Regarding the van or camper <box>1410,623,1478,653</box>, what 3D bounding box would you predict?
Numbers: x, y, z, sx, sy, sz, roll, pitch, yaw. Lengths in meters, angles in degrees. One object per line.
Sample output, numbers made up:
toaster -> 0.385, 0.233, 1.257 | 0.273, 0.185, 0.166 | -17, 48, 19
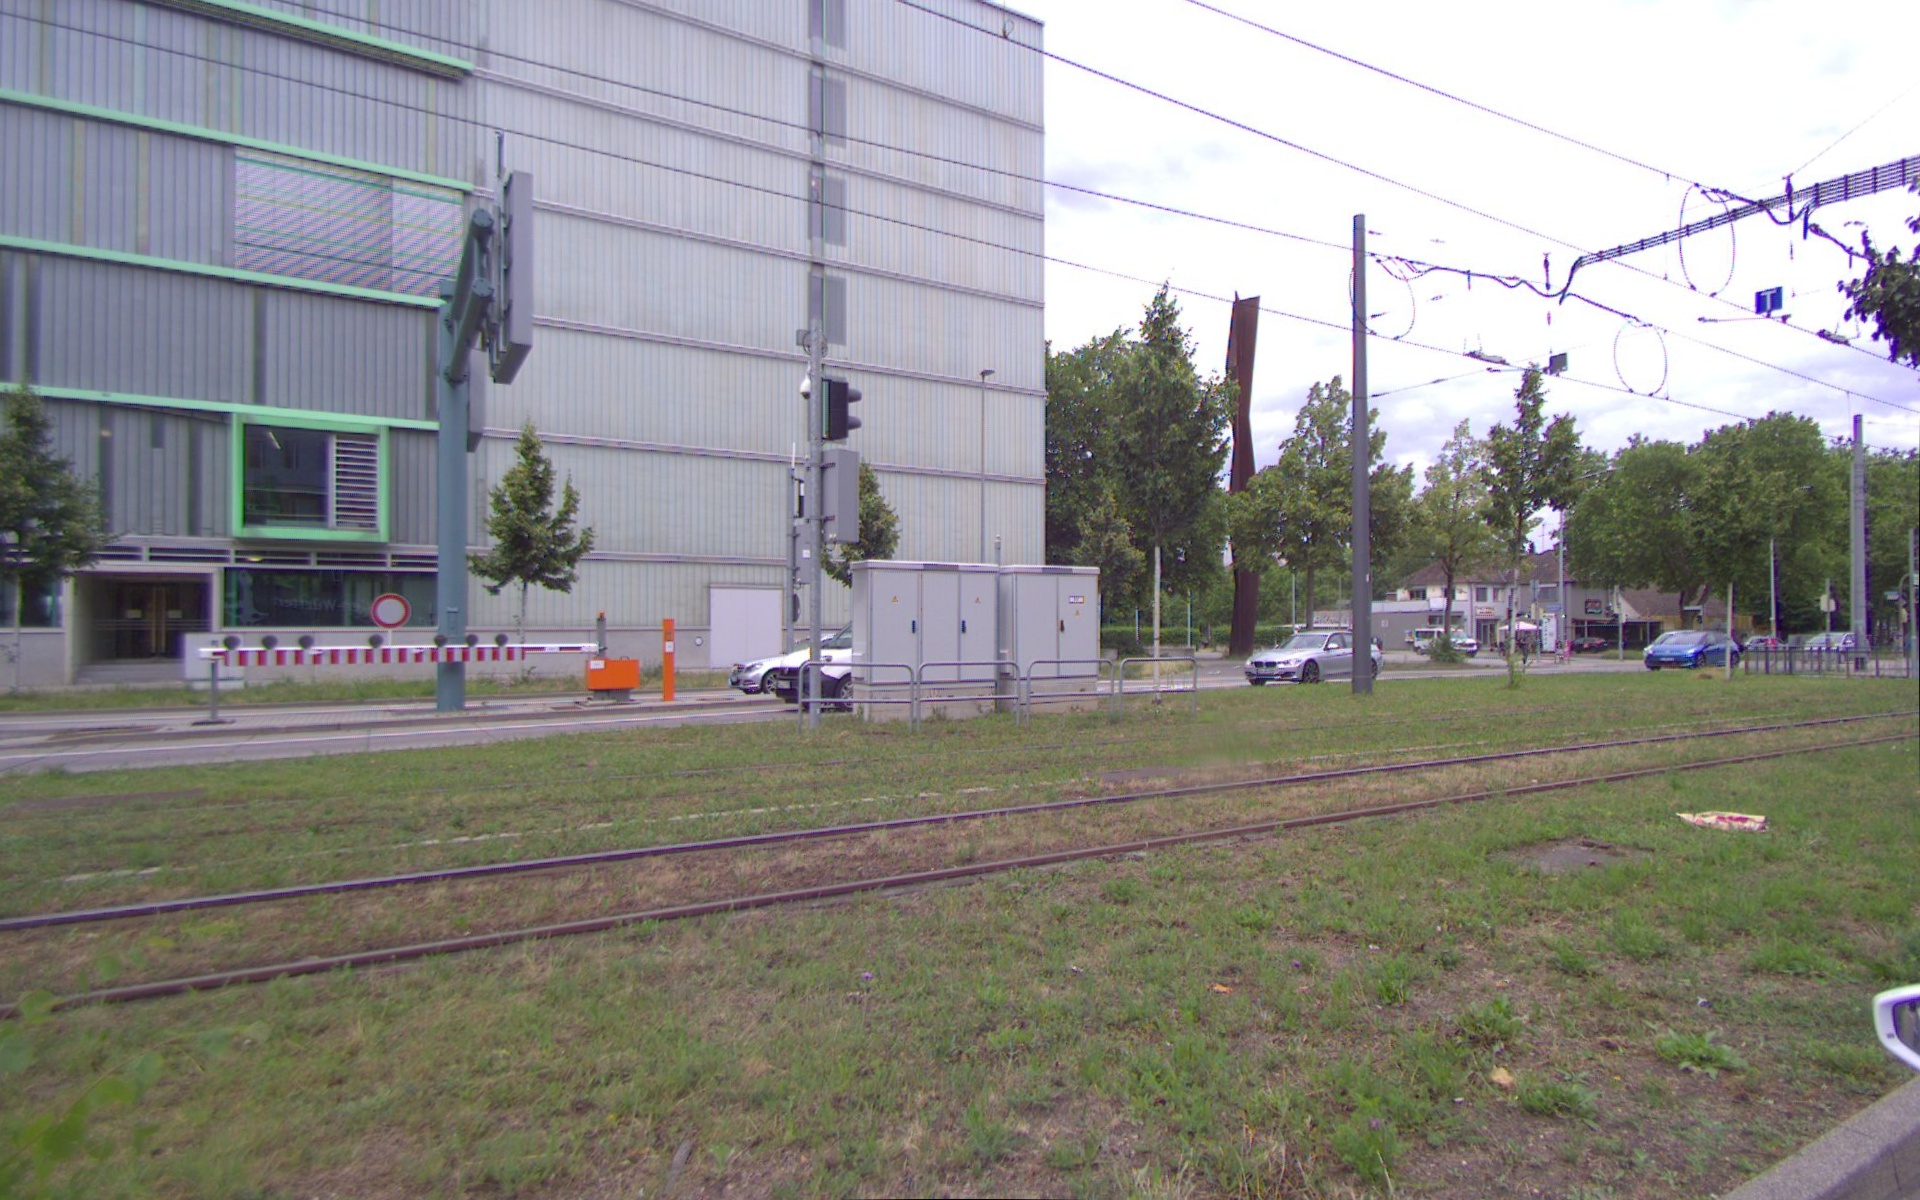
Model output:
van or camper -> 33.566, 2.614, 69.852 | 2.416, 2.040, 5.283 | 0, -1, 2

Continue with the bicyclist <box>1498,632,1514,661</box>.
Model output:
bicyclist -> 34.116, 2.905, 62.780 | 0.838, 1.744, 0.719 | -1, -1, 34

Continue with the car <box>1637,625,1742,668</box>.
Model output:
car -> 29.315, 1.816, 40.338 | 4.639, 1.609, 1.952 | 1, -1, -34

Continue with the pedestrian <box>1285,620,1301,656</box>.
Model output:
pedestrian -> 19.386, 2.202, 58.509 | 0.887, 2.040, 0.954 | 0, -1, 18

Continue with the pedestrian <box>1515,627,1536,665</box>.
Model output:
pedestrian -> 28.110, 2.278, 49.930 | 0.769, 1.856, 0.771 | -1, -1, 43

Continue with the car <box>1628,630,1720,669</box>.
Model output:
car -> 32.412, 2.224, 45.559 | 4.529, 1.591, 1.786 | 2, 0, -32

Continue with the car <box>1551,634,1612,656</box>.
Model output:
car -> 56.132, 4.034, 90.755 | 2.078, 1.840, 4.268 | 1, -1, -25

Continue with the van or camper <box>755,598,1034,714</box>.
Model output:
van or camper -> -1.135, 1.013, 18.978 | 5.077, 1.925, 1.875 | 1, -3, -37

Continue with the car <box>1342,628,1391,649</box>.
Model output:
car -> 37.967, 3.597, 93.813 | 1.974, 1.873, 3.973 | 1, -1, -27

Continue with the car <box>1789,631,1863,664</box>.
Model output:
car -> 45.924, 2.492, 53.268 | 4.623, 1.665, 1.711 | 1, -2, -33

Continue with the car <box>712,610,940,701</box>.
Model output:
car -> -3.231, 1.294, 24.680 | 5.232, 2.040, 1.984 | 1, -1, -30

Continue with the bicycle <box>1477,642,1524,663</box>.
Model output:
bicycle -> 33.863, 3.290, 62.944 | 2.474, 1.218, 0.738 | -1, -1, 35

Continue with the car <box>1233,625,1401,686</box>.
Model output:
car -> 9.677, 1.456, 27.073 | 4.872, 1.464, 1.718 | 0, -3, -35
